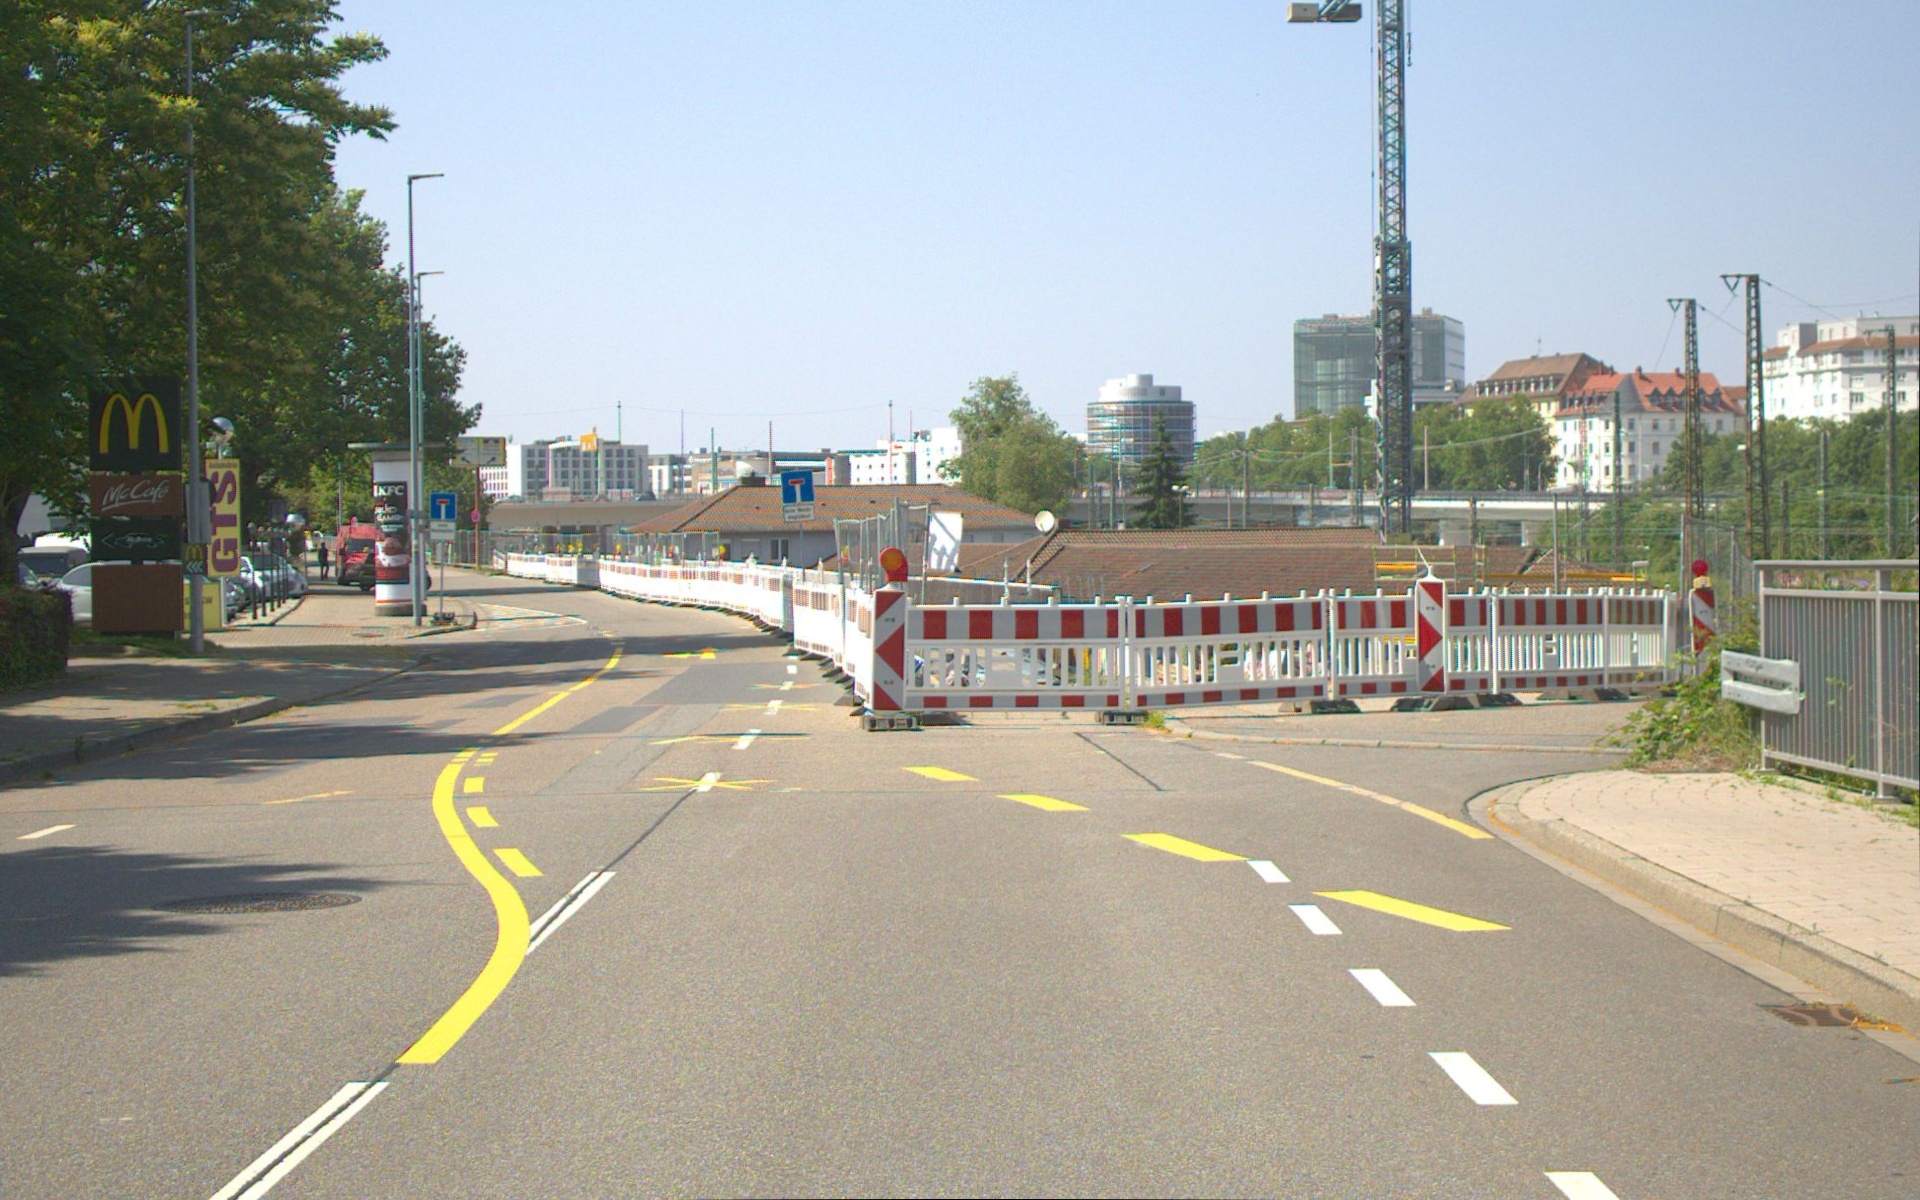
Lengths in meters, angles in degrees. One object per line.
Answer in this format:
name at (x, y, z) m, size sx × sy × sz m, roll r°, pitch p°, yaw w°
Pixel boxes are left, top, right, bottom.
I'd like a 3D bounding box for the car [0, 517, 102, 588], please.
car at (-25.673, -1.325, 95.796) m, size 1.823 × 1.923 × 3.998 m, roll -1°, pitch 1°, yaw -40°
